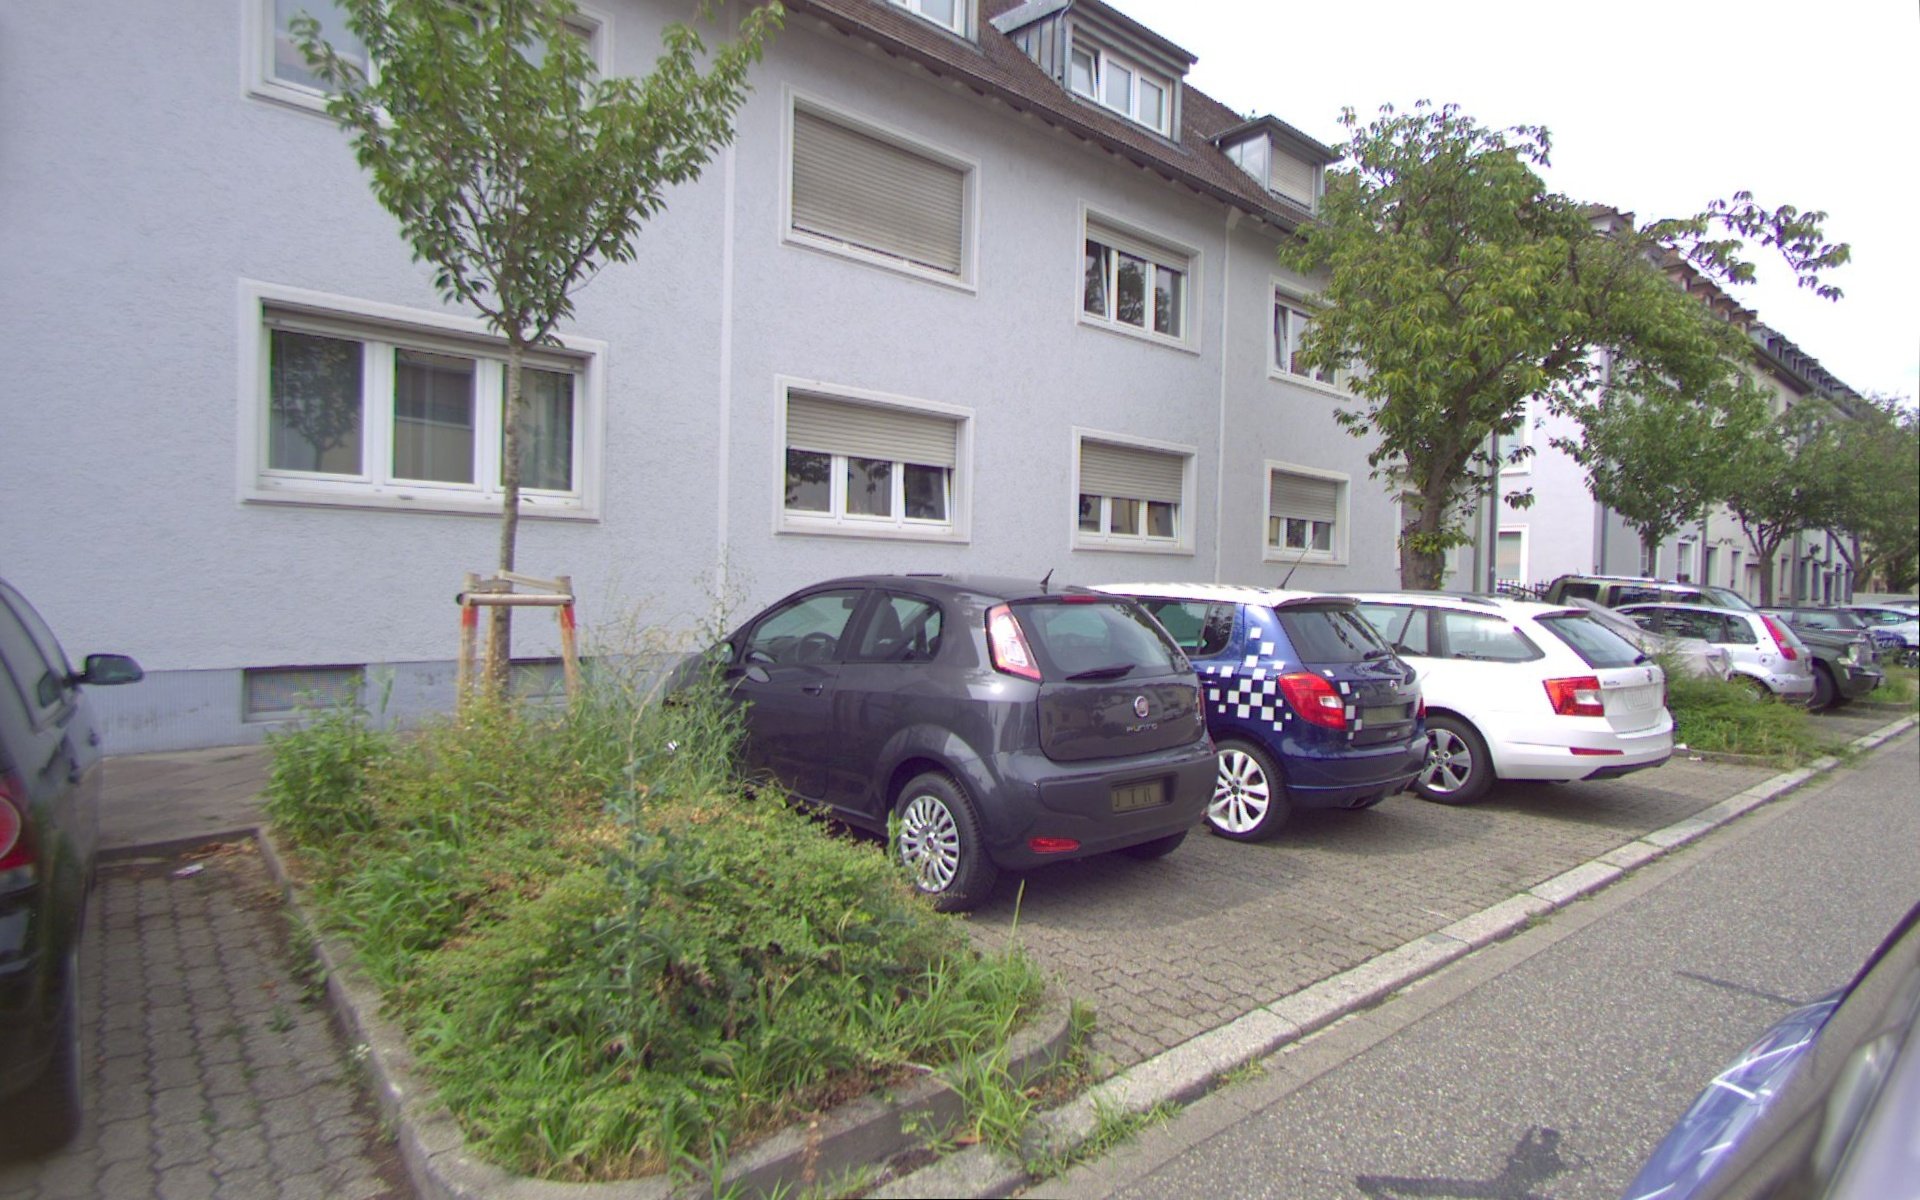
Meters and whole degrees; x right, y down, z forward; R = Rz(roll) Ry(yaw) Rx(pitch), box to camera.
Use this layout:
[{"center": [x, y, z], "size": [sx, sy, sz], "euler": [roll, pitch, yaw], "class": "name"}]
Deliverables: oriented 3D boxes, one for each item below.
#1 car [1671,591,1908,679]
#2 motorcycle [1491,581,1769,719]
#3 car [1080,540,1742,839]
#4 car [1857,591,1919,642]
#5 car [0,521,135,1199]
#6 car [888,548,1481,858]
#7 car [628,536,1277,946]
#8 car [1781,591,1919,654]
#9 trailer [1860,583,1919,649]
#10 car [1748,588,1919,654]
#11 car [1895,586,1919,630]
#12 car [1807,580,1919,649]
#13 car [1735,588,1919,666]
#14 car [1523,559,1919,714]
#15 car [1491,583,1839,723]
[{"center": [17.454, 0.660, 21.409], "size": [1.777, 1.470, 3.552], "euler": [0, 4, -40], "class": "car"}, {"center": [8.255, 0.539, 12.606], "size": [1.014, 1.482, 2.704], "euler": [0, 2, -43], "class": "motorcycle"}, {"center": [3.335, 0.431, 8.396], "size": [1.858, 1.684, 4.628], "euler": [0, 3, -38], "class": "car"}, {"center": [32.878, 0.628, 33.741], "size": [1.871, 1.617, 4.223], "euler": [0, 4, -42], "class": "car"}, {"center": [-3.604, 0.475, 3.082], "size": [1.682, 1.439, 3.998], "euler": [0, 4, -39], "class": "car"}, {"center": [1.336, 0.464, 7.383], "size": [1.682, 1.526, 3.998], "euler": [0, 4, -39], "class": "car"}, {"center": [-0.375, 0.457, 6.014], "size": [1.682, 1.526, 3.998], "euler": [0, 4, -39], "class": "car"}, {"center": [24.876, 0.607, 27.399], "size": [1.831, 1.459, 3.759], "euler": [0, 3, -39], "class": "car"}, {"center": [28.981, 0.523, 30.137], "size": [1.374, 1.853, 2.971], "euler": [1, 3, -36], "class": "trailer"}, {"center": [23.113, 0.520, 26.189], "size": [1.738, 1.427, 3.994], "euler": [0, 4, -42], "class": "car"}, {"center": [40.119, 0.433, 40.081], "size": [1.868, 1.698, 4.229], "euler": [1, 3, -37], "class": "car"}, {"center": [26.873, 0.446, 28.524], "size": [1.868, 1.756, 4.229], "euler": [1, 3, -37], "class": "car"}, {"center": [21.294, 0.607, 24.280], "size": [1.738, 1.548, 3.994], "euler": [0, 4, -42], "class": "car"}, {"center": [11.550, 0.417, 15.675], "size": [1.759, 1.880, 4.540], "euler": [1, 3, -37], "class": "car"}, {"center": [9.639, 0.610, 14.020], "size": [1.743, 1.472, 3.630], "euler": [0, 4, -43], "class": "car"}]
